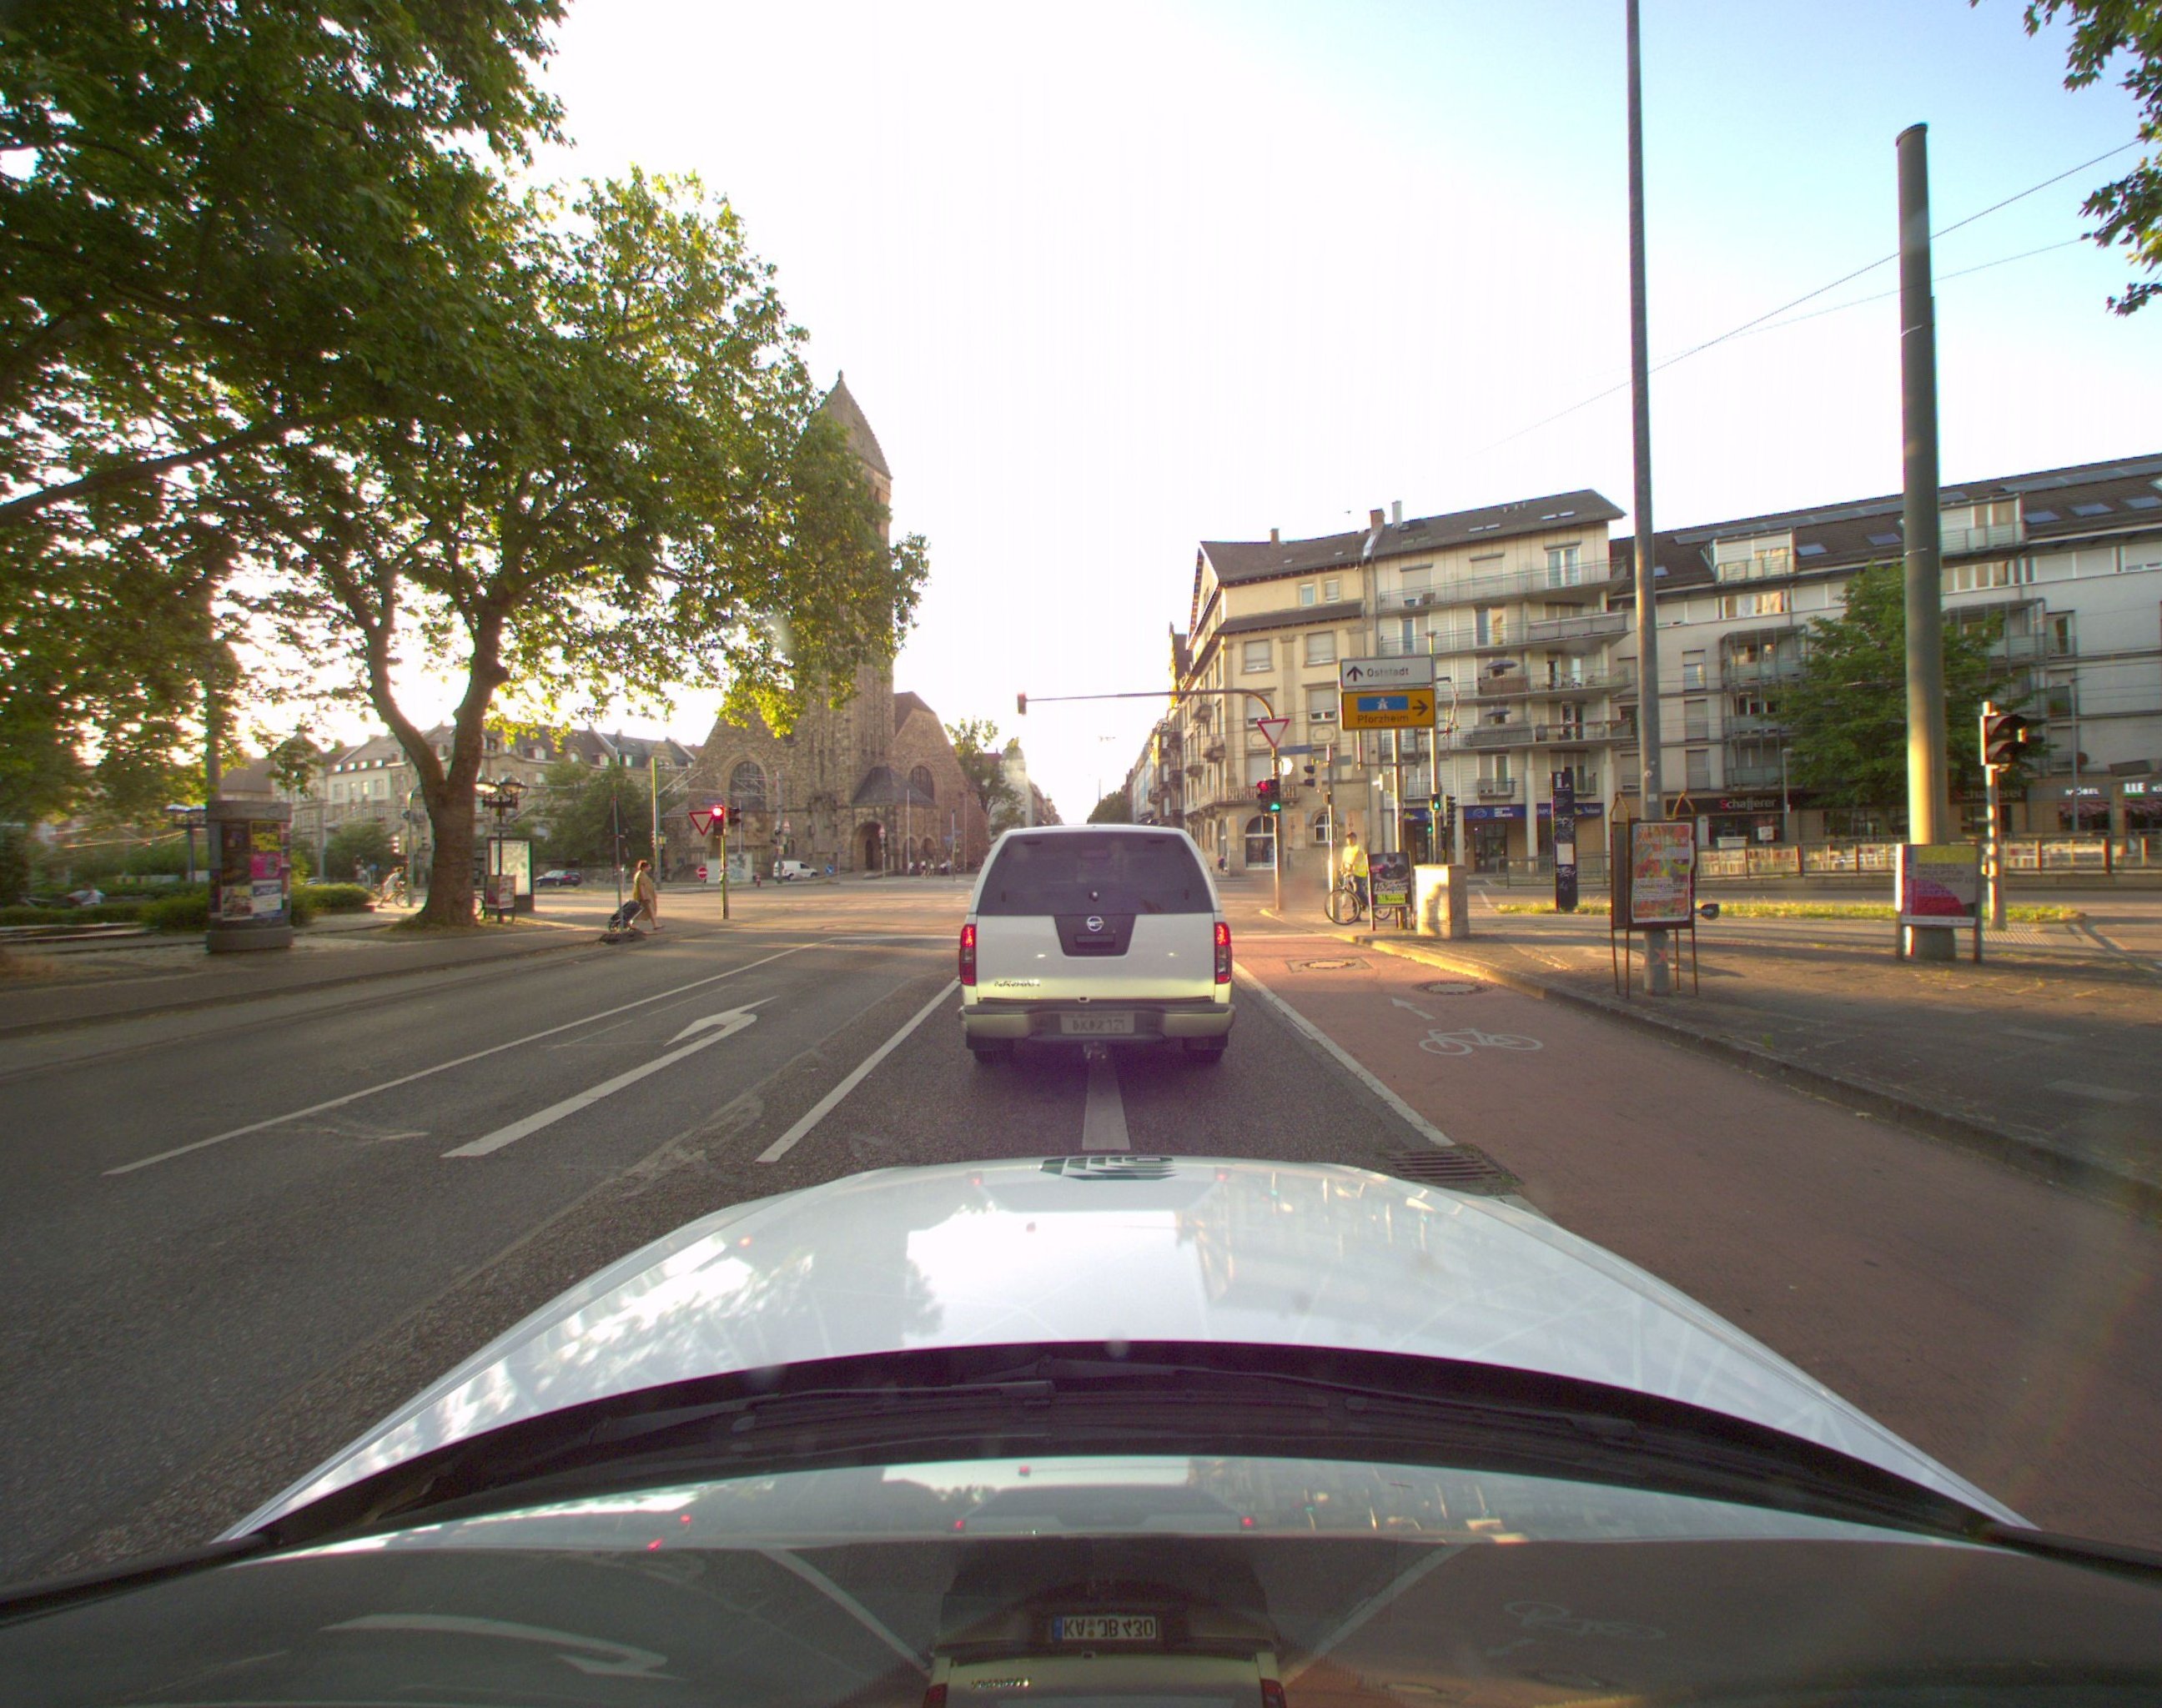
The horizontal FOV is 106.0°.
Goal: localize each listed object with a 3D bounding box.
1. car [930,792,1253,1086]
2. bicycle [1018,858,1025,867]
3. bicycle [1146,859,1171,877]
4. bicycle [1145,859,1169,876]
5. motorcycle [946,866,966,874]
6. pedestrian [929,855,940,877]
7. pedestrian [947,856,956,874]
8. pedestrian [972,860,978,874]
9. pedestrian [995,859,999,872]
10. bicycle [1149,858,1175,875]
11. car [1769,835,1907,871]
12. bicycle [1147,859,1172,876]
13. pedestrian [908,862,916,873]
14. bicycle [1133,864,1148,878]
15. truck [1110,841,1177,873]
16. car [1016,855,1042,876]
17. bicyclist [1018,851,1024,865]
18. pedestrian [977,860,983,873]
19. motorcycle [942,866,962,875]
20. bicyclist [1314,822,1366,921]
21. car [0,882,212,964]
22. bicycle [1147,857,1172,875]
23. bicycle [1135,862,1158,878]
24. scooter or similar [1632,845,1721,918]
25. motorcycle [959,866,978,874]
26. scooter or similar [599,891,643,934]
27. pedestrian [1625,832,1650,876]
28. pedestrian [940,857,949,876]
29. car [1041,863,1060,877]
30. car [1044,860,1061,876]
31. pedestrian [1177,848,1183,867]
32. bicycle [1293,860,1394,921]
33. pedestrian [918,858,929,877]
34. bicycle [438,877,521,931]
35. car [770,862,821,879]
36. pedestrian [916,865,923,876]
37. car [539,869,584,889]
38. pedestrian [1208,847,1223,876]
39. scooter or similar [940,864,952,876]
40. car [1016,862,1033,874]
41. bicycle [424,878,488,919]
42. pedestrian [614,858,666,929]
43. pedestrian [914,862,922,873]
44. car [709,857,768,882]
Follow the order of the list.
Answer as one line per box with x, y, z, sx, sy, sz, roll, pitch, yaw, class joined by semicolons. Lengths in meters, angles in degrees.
0.122;0.554;7.019;1.986;1.809;4.001;0;-1;2;car
-6.724;0.945;91.826;0.599;1.043;1.940;0;-1;-9;bicycle
6.092;1.085;63.895;1.812;1.238;0.477;-4;-1;-1;bicycle
6.136;1.082;65.758;1.849;1.238;0.530;-4;-1;-1;bicycle
-14.451;1.852;94.237;2.239;0.988;0.707;0;-1;-4;motorcycle
-12.758;1.048;70.898;0.809;1.901;0.666;0;-1;-1;pedestrian
-12.165;1.062;76.560;0.629;1.698;0.605;-1;-1;12;pedestrian
-12.758;1.554;98.006;0.642;1.695;0.560;0;-1;-7;pedestrian
-11.047;1.478;107.032;0.559;1.695;0.643;0;-1;-6;pedestrian
6.190;0.938;62.243;1.812;1.150;0.636;-4;-1;-1;bicycle
32.675;-0.019;35.310;3.952;1.486;1.859;-1;-1;21;car
6.215;1.062;64.619;1.812;1.238;0.412;-4;-1;-1;bicycle
-15.674;1.265;75.509;0.517;0.960;0.482;-1;-1;21;pedestrian
4.637;1.303;63.622;1.073;1.024;0.317;-4;-1;-1;bicycle
5.314;0.241;68.838;5.704;2.565;2.260;0;-1;-42;truck
-4.704;0.994;74.040;1.987;1.784;4.797;0;1;0;car
-6.716;0.463;91.745;0.599;1.645;0.960;0;-1;-9;bicyclist
-12.467;1.547;100.302;0.640;1.695;0.562;0;-1;1;pedestrian
-14.611;1.822;92.213;2.239;0.988;0.707;0;-1;-4;motorcycle
4.932;0.327;15.517;0.701;1.824;0.622;0;-1;-31;bicyclist
-26.727;1.798;21.548;1.975;1.781;4.669;-3;1;27;car
6.097;0.927;63.187;1.812;1.238;0.488;-4;-1;-1;bicycle
5.031;1.241;62.730;1.721;1.083;0.317;-4;-1;-1;bicycle
10.620;0.477;14.537;1.219;1.249;0.518;-1;-2;41;scooter or similar
-13.357;1.879;96.501;2.146;0.988;0.597;-1;-1;21;motorcycle
-10.340;1.301;18.322;0.591;0.898;0.849;0;-1;-9;scooter or similar
28.814;0.007;42.169;0.860;2.209;0.825;-1;-1;21;pedestrian
-12.880;1.177;76.739;0.629;1.698;0.605;-1;-1;13;pedestrian
-3.621;1.921;96.596;1.987;1.558;4.767;-1;-2;0;car
-3.757;1.887;107.884;1.987;2.014;4.950;-2;-1;0;car
8.703;0.297;71.680;0.525;1.654;0.547;0;-1;1;pedestrian
5.040;0.671;15.577;2.079;1.109;0.622;0;-1;-31;bicycle
-13.697;1.200;70.937;0.809;1.669;0.859;0;-1;-1;pedestrian
-15.830;1.297;21.496;0.522;1.326;1.998;-1;-1;7;bicycle
-26.358;1.483;75.348;1.698;1.517;4.481;-1;-1;26;car
-15.148;1.550;76.388;0.473;0.960;0.526;-1;-1;31;pedestrian
-45.648;2.195;71.580;3.948;1.684;2.013;-1;-1;35;car
8.536;0.486;51.595;0.779;1.779;0.546;-1;-1;27;pedestrian
-12.532;1.503;75.687;0.628;1.103;1.083;-2;-2;17;scooter or similar
-7.217;1.781;103.935;1.852;1.398;4.000;0;-1;1;car
-18.058;1.268;23.578;0.456;1.093;1.798;0;-1;0;bicycle
-10.367;0.918;19.171;0.800;1.628;0.773;0;-1;-3;pedestrian
-15.063;1.256;75.220;0.517;0.960;0.482;-1;-1;21;pedestrian
-26.687;1.255;63.479;3.951;1.619;2.010;-2;-8;24;car
